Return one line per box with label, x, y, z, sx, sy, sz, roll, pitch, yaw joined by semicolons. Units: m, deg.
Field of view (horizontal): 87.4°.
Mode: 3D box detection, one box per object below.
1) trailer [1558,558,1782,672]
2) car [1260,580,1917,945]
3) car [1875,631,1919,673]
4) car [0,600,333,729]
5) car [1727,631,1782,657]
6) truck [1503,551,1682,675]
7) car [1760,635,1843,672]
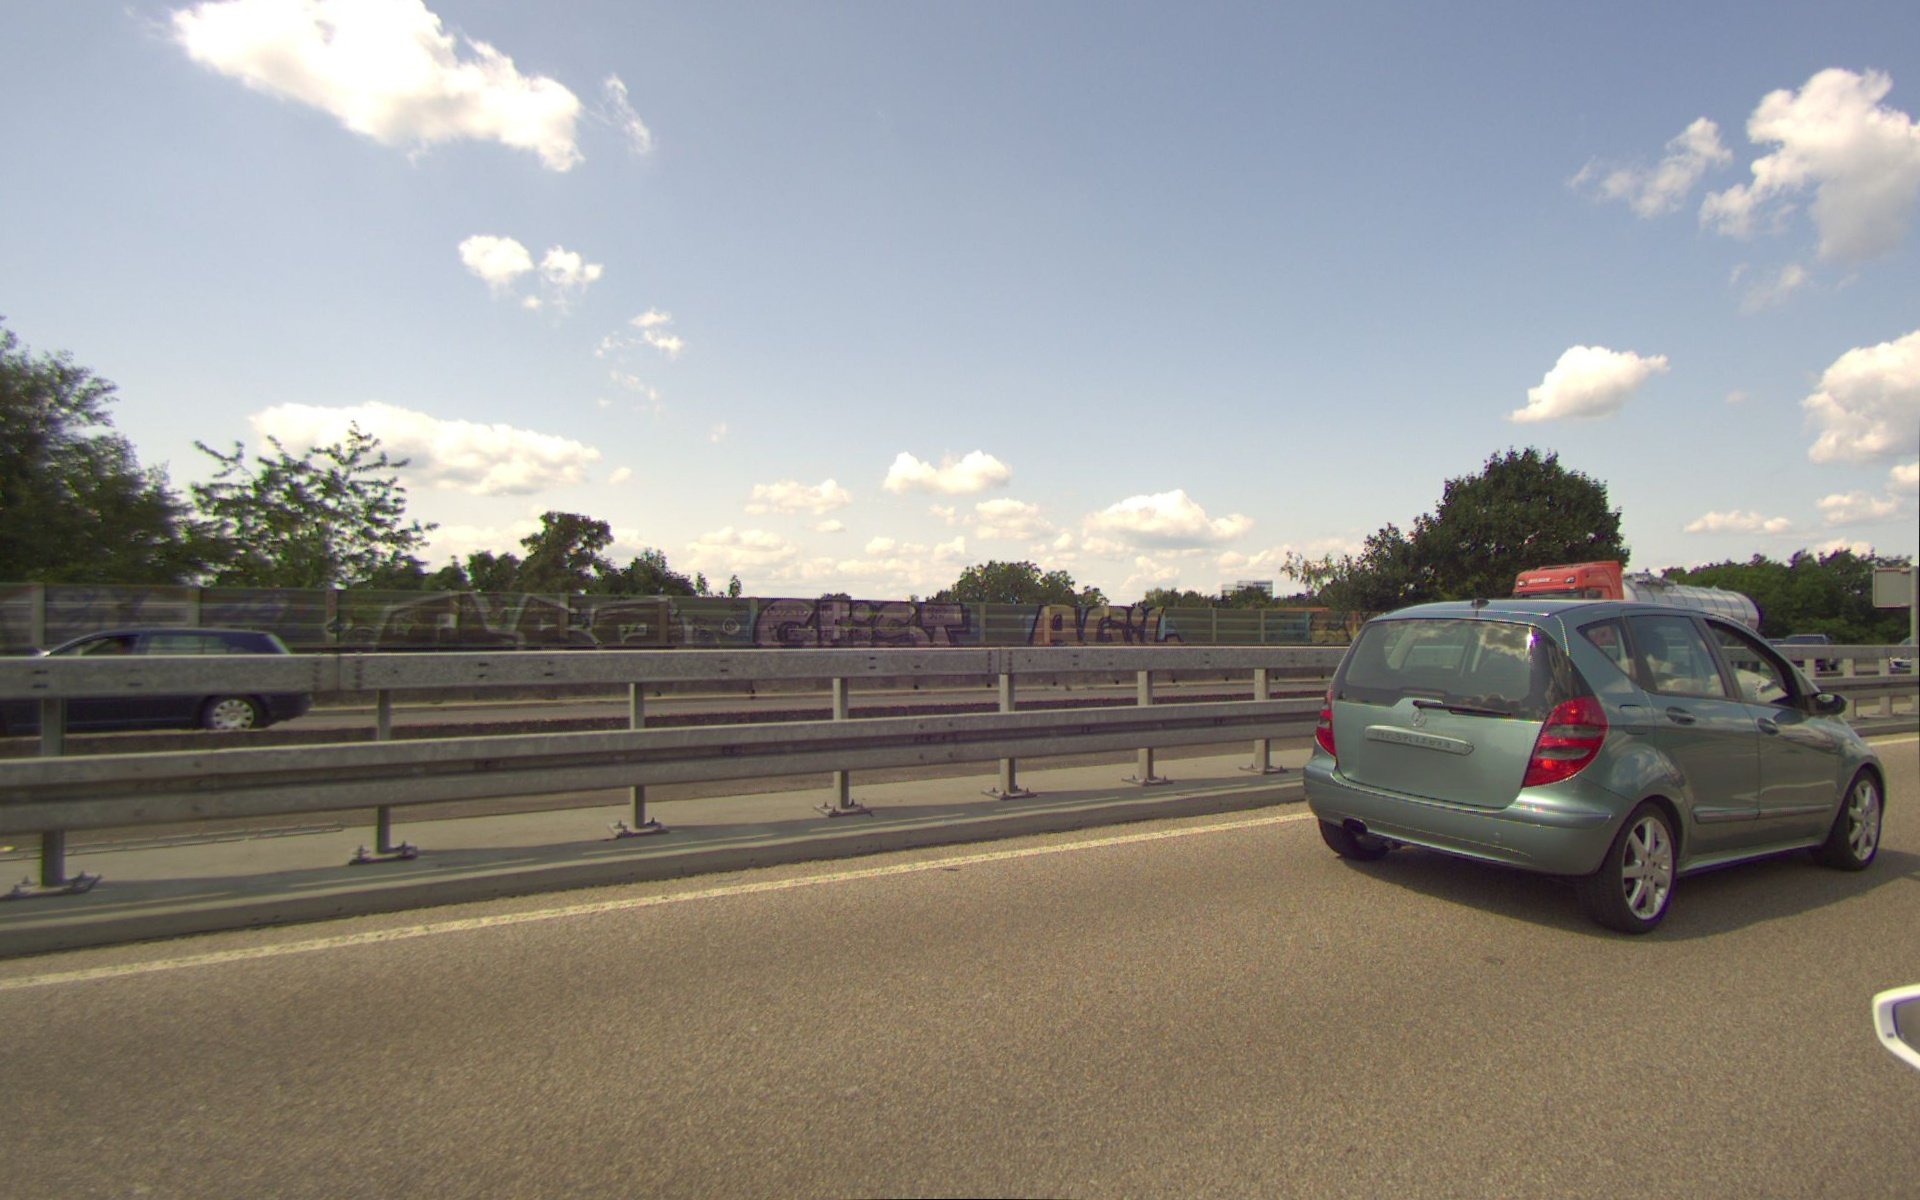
trailer;26.161;0.613;36.733;10.906;3.718;2.670;2;0;-32
car;3.869;0.740;6.045;3.953;1.551;1.739;1;-1;-30
car;37.365;2.017;38.901;3.913;1.529;1.774;2;0;-31
car;-10.426;0.781;12.557;4.355;1.450;1.679;2;-3;-33
car;51.692;2.855;65.434;1.893;1.595;4.280;0;-1;25
truck;21.278;0.469;33.707;6.164;3.832;2.633;2;0;-32
car;38.606;2.442;46.063;4.235;1.640;1.705;2;-3;-33
